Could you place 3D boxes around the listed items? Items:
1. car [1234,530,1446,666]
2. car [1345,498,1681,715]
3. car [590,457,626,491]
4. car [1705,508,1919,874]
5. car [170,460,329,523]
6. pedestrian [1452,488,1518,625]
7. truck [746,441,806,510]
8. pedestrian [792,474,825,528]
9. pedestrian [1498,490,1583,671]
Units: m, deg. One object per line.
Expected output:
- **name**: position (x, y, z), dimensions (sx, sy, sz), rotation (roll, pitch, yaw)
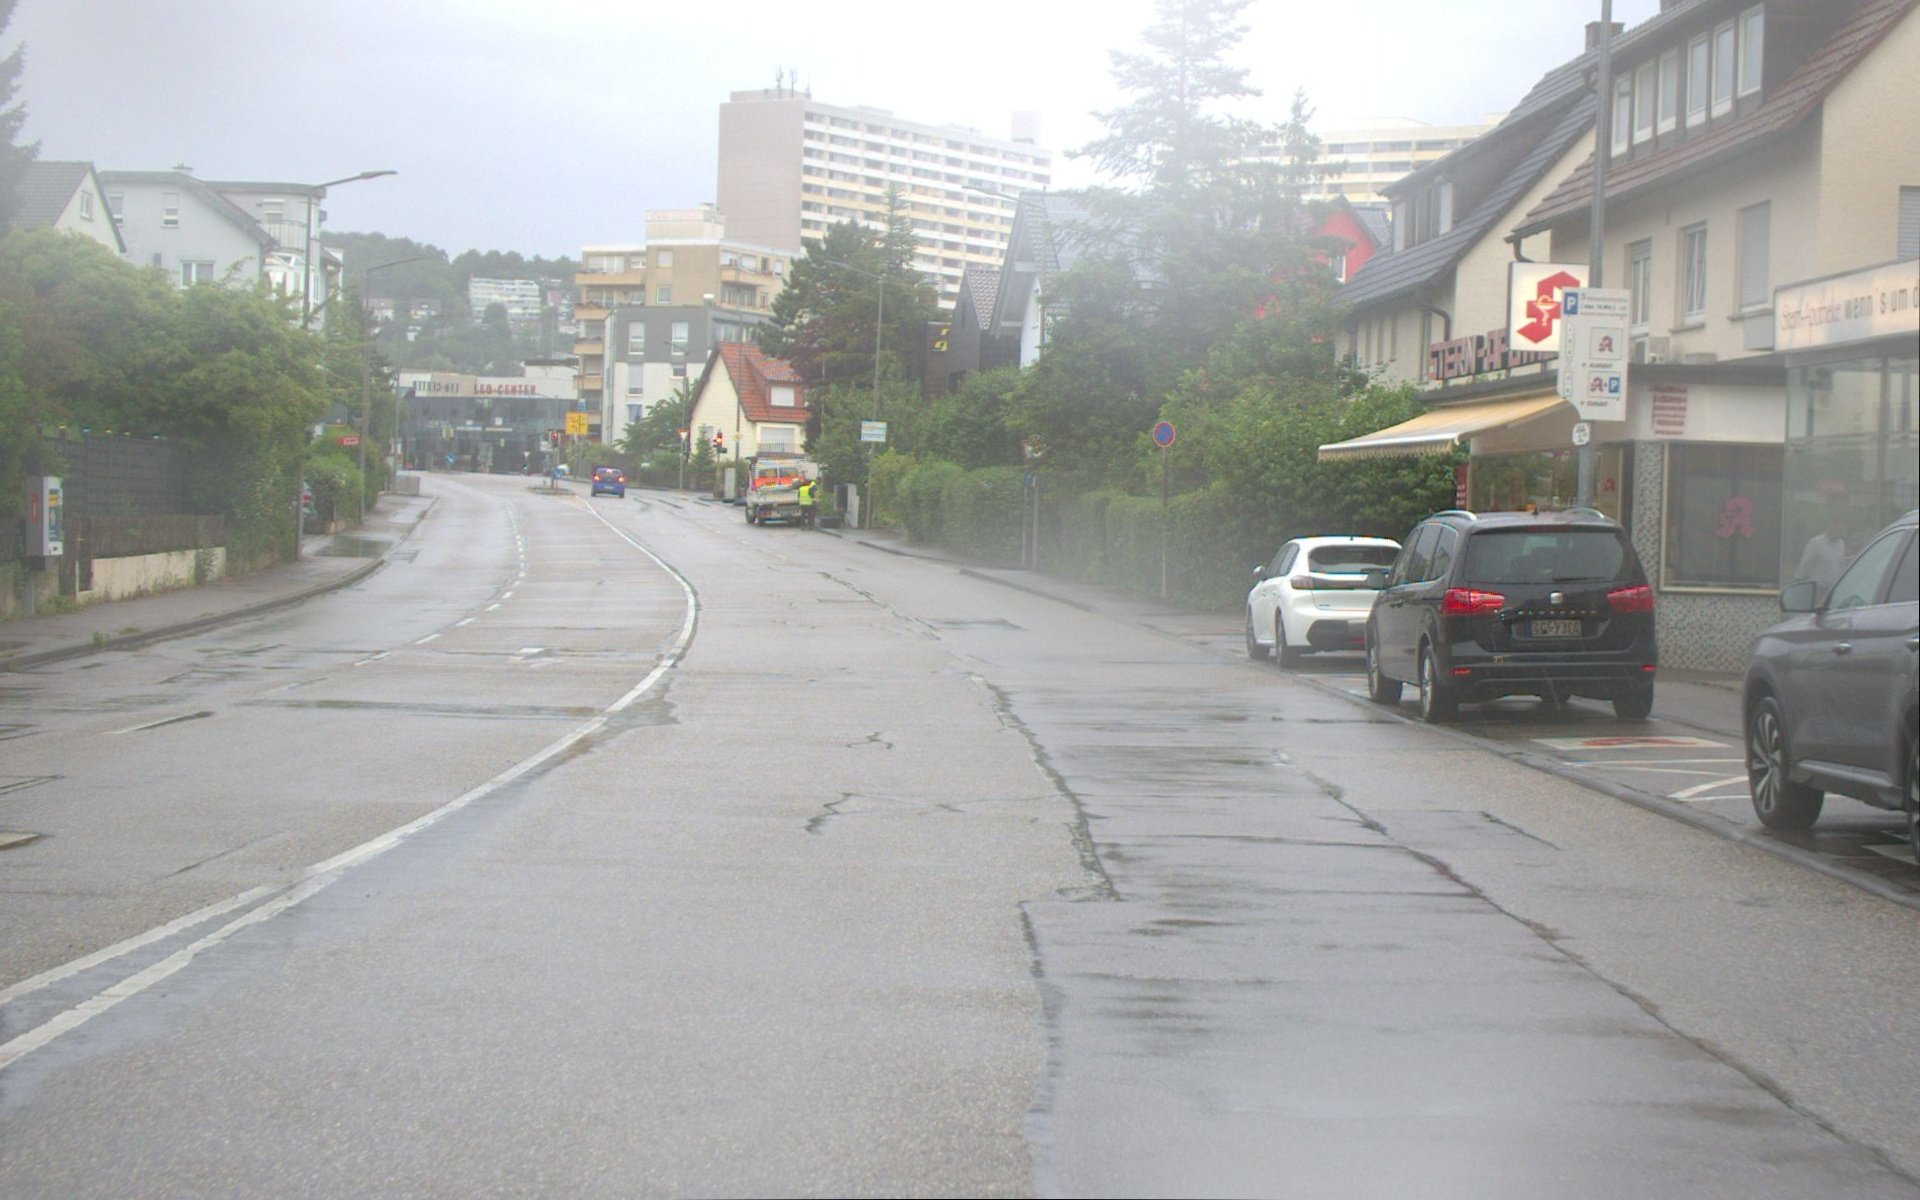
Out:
- **car**: position (4.285, -0.069, 39.329), dimensions (1.815, 1.443, 4.204), rotation (0, 2, -2)
- **car**: position (4.618, 0.021, 29.444), dimensions (2.035, 1.689, 4.963), rotation (0, 1, 0)
- **car**: position (-17.835, -6.393, 174.428), dimensions (1.794, 1.664, 4.001), rotation (1, 1, -5)
- **car**: position (5.172, 0.383, 16.723), dimensions (1.875, 1.637, 4.793), rotation (-1, 1, -2)
- **car**: position (-19.989, -3.058, 96.756), dimensions (3.989, 1.680, 1.808), rotation (1, 2, 11)
- **pedestrian**: position (6.462, -0.535, 42.324), dimensions (0.550, 1.672, 0.517), rotation (1, 2, -39)
- **truck**: position (-6.416, -4.340, 119.551), dimensions (1.993, 2.295, 4.001), rotation (1, 2, -3)
- **pedestrian**: position (-5.100, -3.343, 115.709), dimensions (0.823, 1.791, 0.800), rotation (0, 2, -25)
- **pedestrian**: position (6.183, -0.211, 36.590), dimensions (0.623, 1.885, 0.646), rotation (3, 2, 34)
